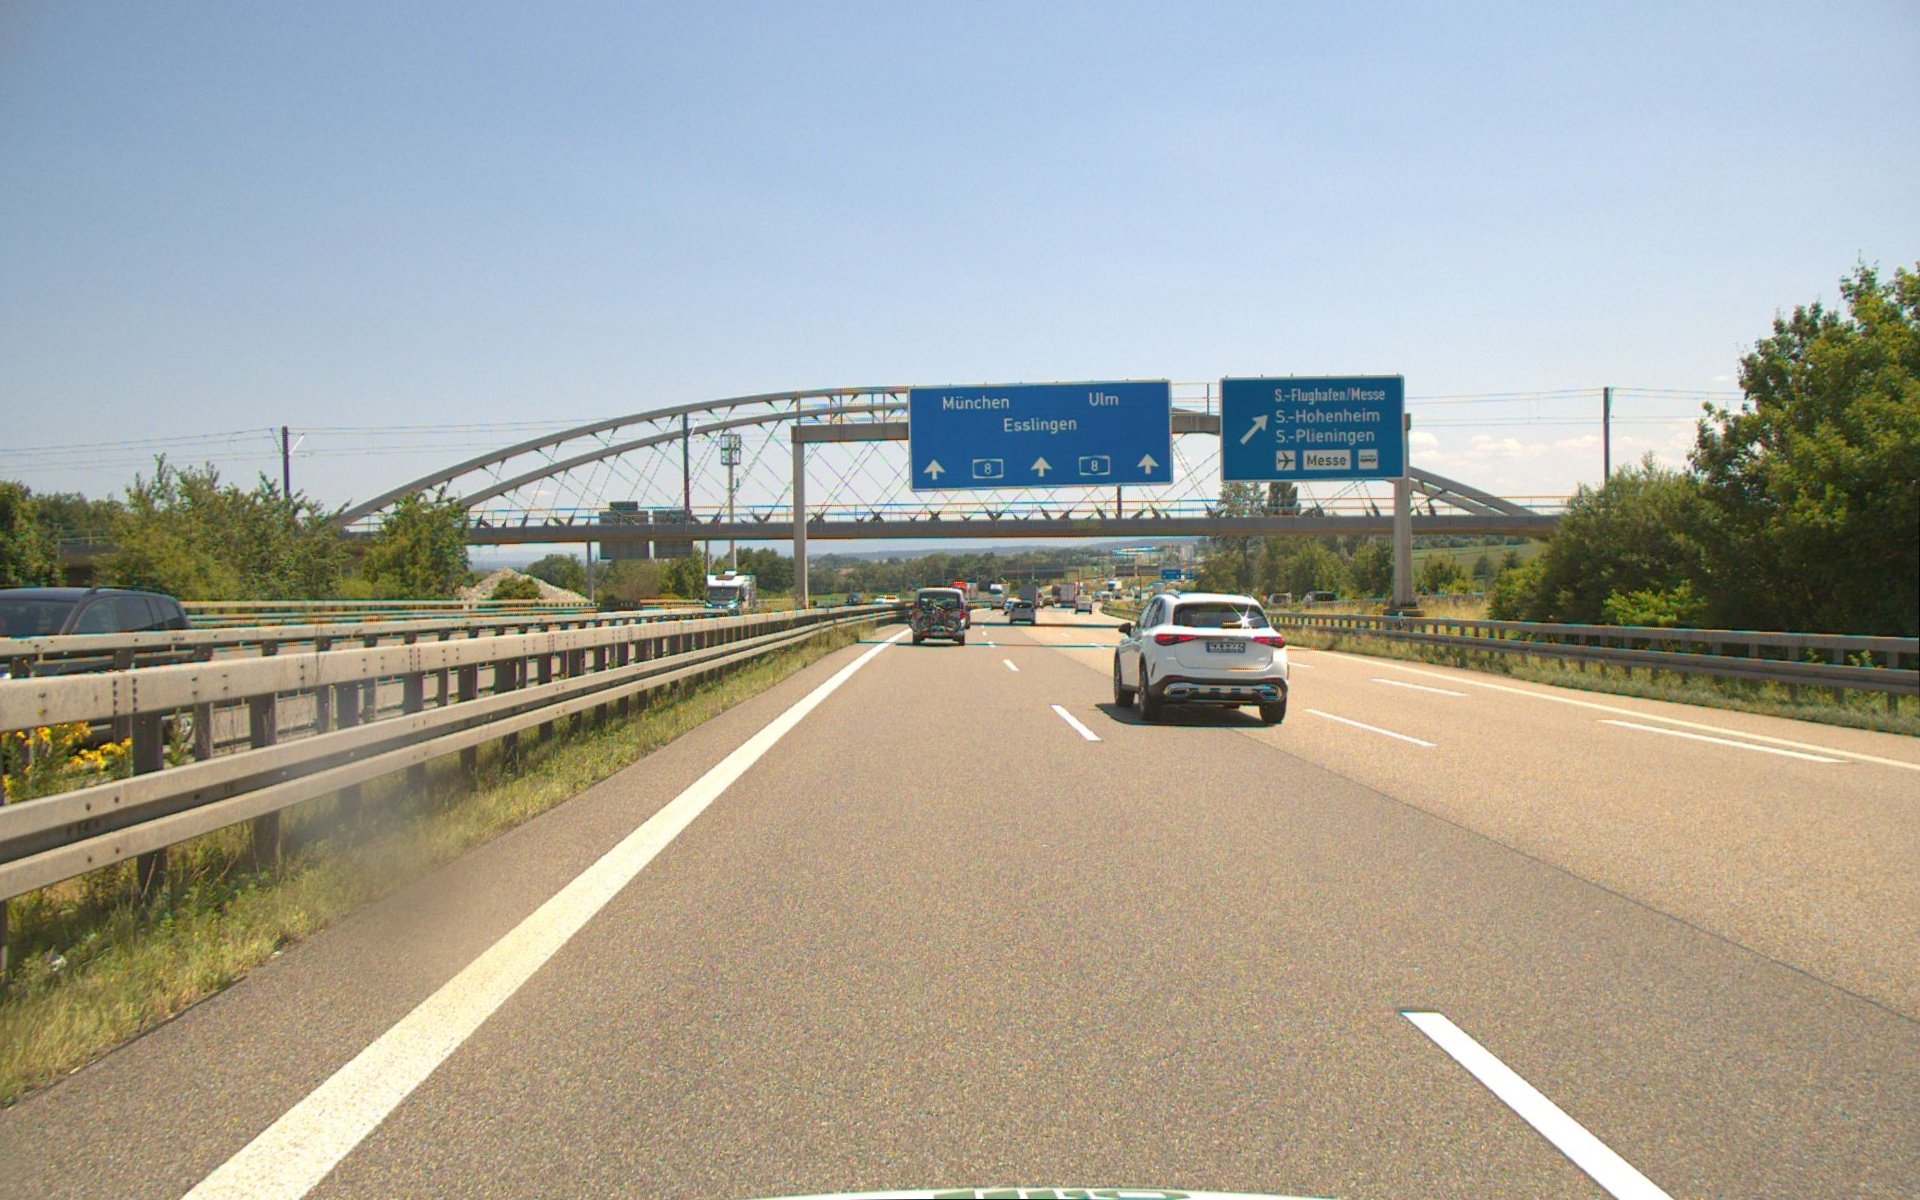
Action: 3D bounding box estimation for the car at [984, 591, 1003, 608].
[{"bbox_3d":[4.335,-0.055,212.015,2.140,2.038,4.002,1,0,4],"label":"car"}]

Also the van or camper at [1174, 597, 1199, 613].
[{"bbox_3d":[30.759,0.652,224.421,2.479,2.049,4.457,1,0,-4],"label":"van or camper"}]

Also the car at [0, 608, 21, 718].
[{"bbox_3d":[-13.122,0.801,19.572,1.713,1.409,4.097,1,0,-1],"label":"car"}]

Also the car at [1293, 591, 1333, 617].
[{"bbox_3d":[21.996,0.254,103.227,1.664,1.602,4.128,1,0,1],"label":"car"}]

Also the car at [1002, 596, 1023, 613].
[{"bbox_3d":[4.959,0.412,154.924,1.940,1.499,4.001,0,0,2],"label":"car"}]

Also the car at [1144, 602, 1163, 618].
[{"bbox_3d":[25.442,1.329,217.243,1.953,2.049,3.999,1,0,-1],"label":"car"}]

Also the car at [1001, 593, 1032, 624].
[{"bbox_3d":[3.622,0.558,107.110,1.887,1.952,4.518,1,0,1],"label":"car"}]

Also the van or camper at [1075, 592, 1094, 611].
[{"bbox_3d":[13.758,0.213,183.092,2.110,2.049,4.306,1,0,4],"label":"van or camper"}]

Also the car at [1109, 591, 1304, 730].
[{"bbox_3d":[3.263,0.754,22.890,1.859,1.676,4.997,1,0,-1],"label":"car"}]

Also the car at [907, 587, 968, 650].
[{"bbox_3d":[-0.748,0.591,54.631,1.887,1.952,4.947,1,0,-1],"label":"car"}]

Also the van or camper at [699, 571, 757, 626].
[{"bbox_3d":[-13.963,-0.085,100.041,2.394,3.141,8.120,1,0,-1],"label":"van or camper"}]

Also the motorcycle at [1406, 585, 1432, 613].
[{"bbox_3d":[23.140,-0.030,83.478,0.744,1.390,1.869,1,0,-1],"label":"motorcycle"}]

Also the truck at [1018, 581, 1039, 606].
[{"bbox_3d":[9.085,-0.797,219.512,2.646,3.163,10.661,1,0,2],"label":"truck"}]

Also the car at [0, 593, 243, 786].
[{"bbox_3d":[-8.912,0.748,16.273,1.713,1.614,4.689,1,0,-1],"label":"car"}]

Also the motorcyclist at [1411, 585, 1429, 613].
[{"bbox_3d":[23.164,-0.068,83.345,0.655,1.390,0.878,1,0,0],"label":"motorcyclist"}]
